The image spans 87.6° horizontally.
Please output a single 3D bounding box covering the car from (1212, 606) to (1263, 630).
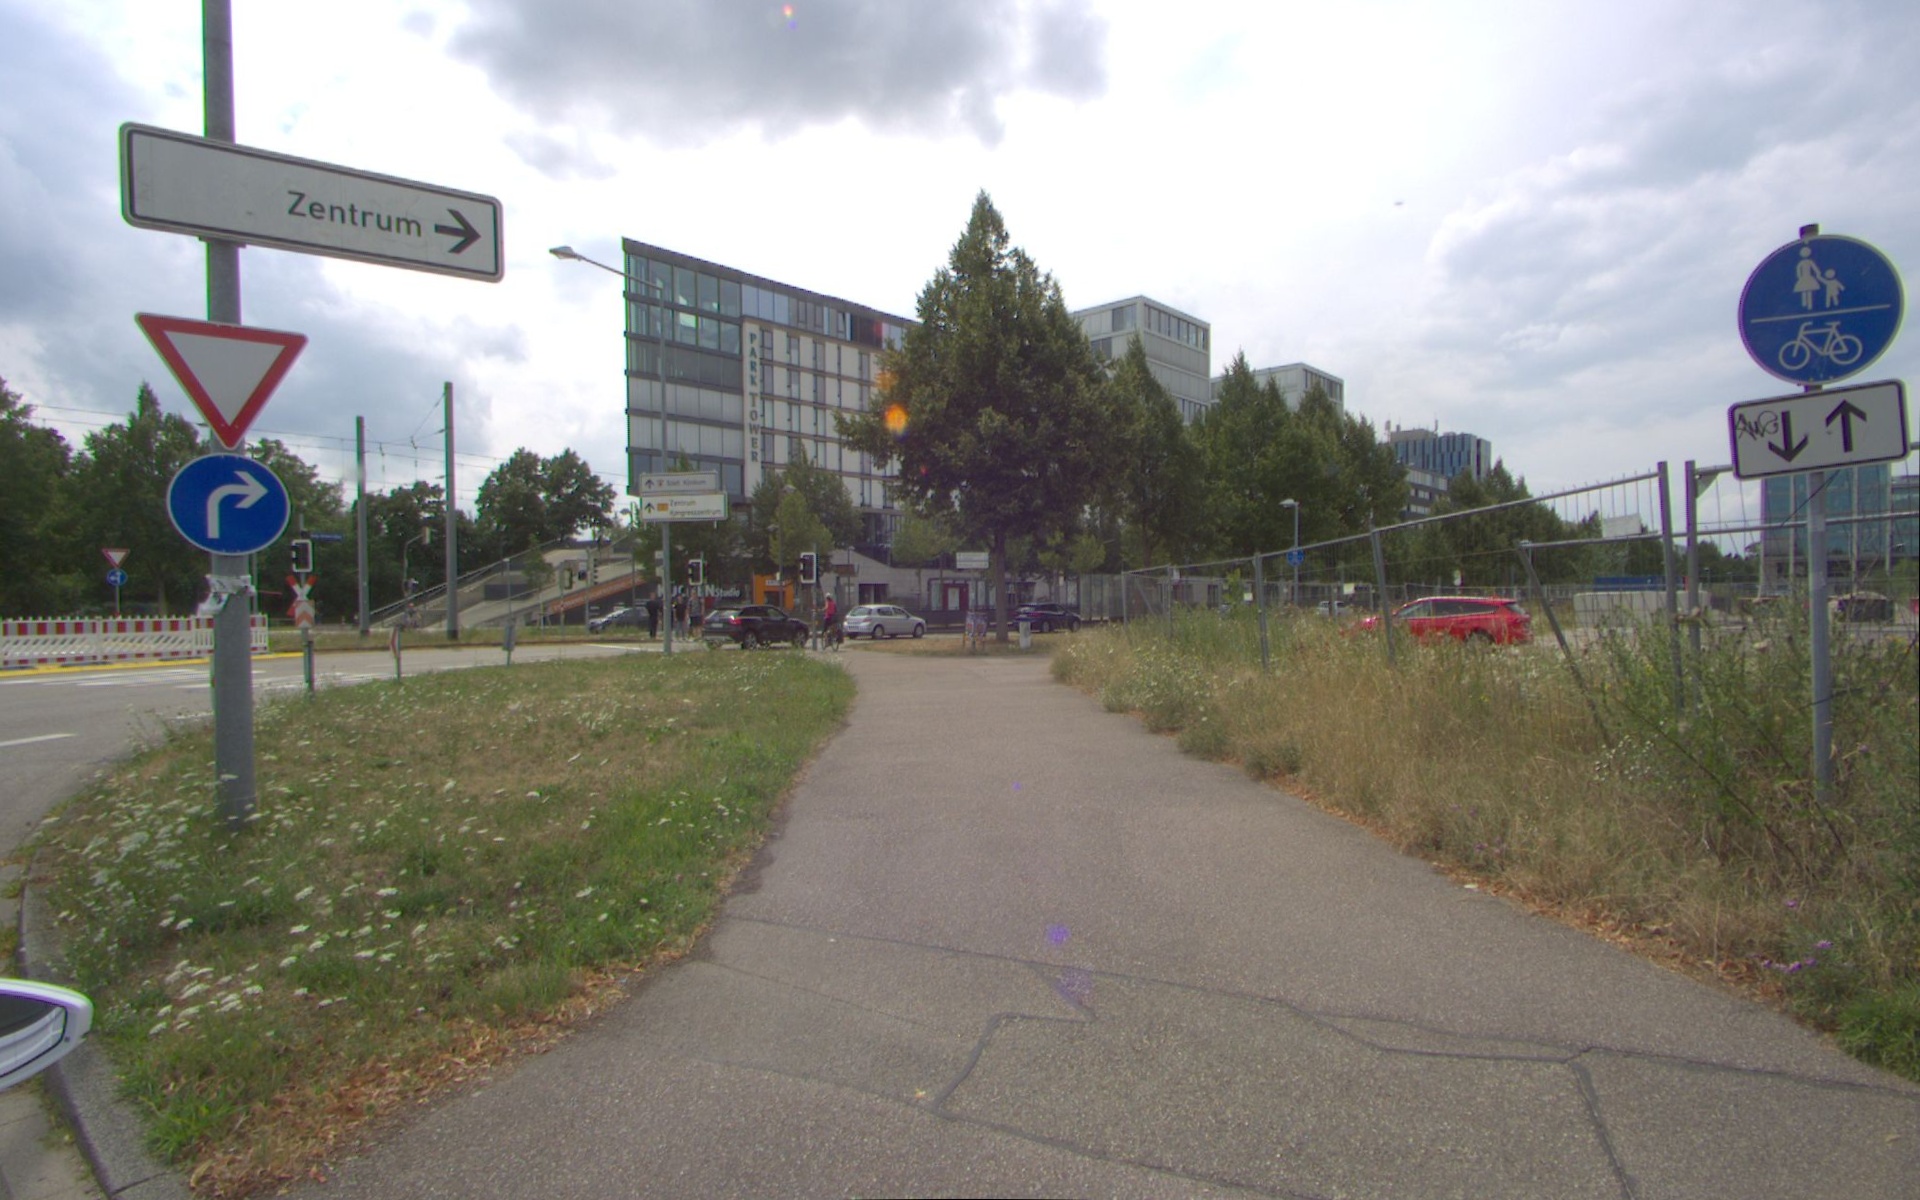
[{"bbox_3d":[18.895,1.202,68.114,1.780,1.517,4.084,0,0,40],"label":"car"}]

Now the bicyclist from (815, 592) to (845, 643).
[{"bbox_3d":[-4.286,0.576,33.062,0.778,1.649,1.046,-1,1,-19],"label":"bicyclist"}]

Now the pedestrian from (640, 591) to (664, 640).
[{"bbox_3d":[-11.662,0.586,37.969,0.546,1.805,0.685,1,1,37],"label":"pedestrian"}]

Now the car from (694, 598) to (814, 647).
[{"bbox_3d":[-6.958,0.723,34.224,1.715,1.539,4.127,0,0,30],"label":"car"}]

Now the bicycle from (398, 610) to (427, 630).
[{"bbox_3d":[-28.359,1.014,51.857,1.733,1.020,0.650,0,0,36],"label":"bicycle"}]

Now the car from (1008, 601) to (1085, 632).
[{"bbox_3d":[4.519,0.845,52.135,1.714,1.554,4.333,0,0,43],"label":"car"}]

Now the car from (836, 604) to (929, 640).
[{"bbox_3d":[-3.334,0.906,43.630,1.805,1.482,4.235,0,0,34],"label":"car"}]

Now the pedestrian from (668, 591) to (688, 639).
[{"bbox_3d":[-11.038,0.579,39.172,0.546,1.887,0.527,1,1,37],"label":"pedestrian"}]

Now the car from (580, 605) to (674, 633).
[{"bbox_3d":[-18.514,1.036,55.771,1.829,1.477,4.696,1,0,43],"label":"car"}]

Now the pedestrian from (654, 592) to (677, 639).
[{"bbox_3d":[-11.361,0.597,38.630,0.546,1.805,0.629,1,1,37],"label":"pedestrian"}]

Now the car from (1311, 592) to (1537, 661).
[{"bbox_3d":[11.912,0.639,25.887,5.072,1.625,1.777,0,0,37],"label":"car"}]

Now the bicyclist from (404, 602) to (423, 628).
[{"bbox_3d":[-28.294,0.750,51.806,0.666,1.334,0.636,1,1,36],"label":"bicyclist"}]

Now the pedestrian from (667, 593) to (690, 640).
[{"bbox_3d":[-10.798,0.627,38.392,0.546,1.805,0.685,1,1,37],"label":"pedestrian"}]

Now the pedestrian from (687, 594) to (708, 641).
[{"bbox_3d":[-10.206,0.673,38.866,0.546,1.805,0.576,1,1,37],"label":"pedestrian"}]

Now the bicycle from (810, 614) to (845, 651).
[{"bbox_3d":[-4.408,1.065,33.310,0.778,1.183,2.037,-1,0,-19],"label":"bicycle"}]

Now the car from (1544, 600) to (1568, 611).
[{"bbox_3d":[77.827,0.735,130.694,1.978,1.392,3.966,0,0,42],"label":"car"}]

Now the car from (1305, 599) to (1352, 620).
[{"bbox_3d":[27.182,0.716,73.831,1.782,1.517,4.223,0,0,43],"label":"car"}]
